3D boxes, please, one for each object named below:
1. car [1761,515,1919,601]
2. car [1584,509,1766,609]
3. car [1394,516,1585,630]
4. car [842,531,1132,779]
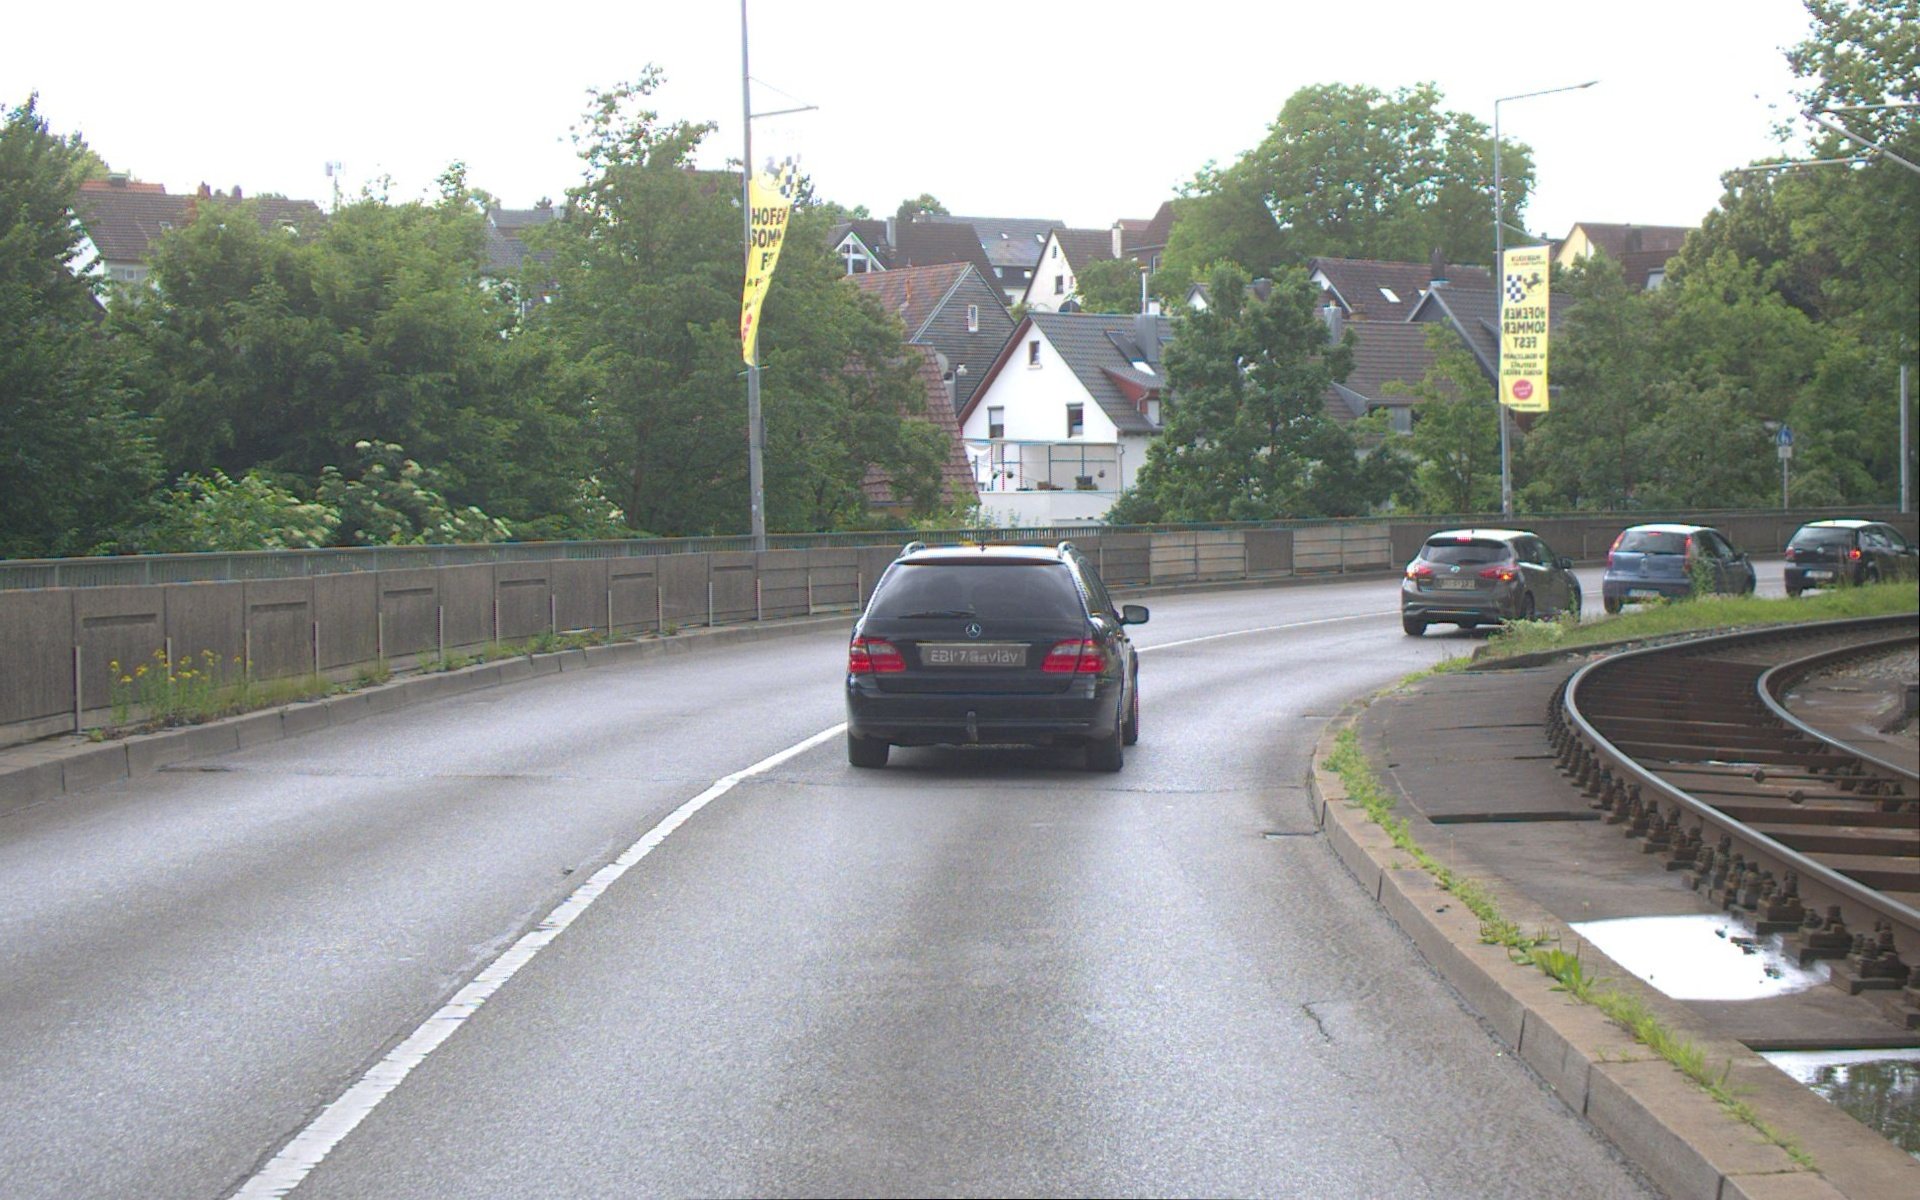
[{"bbox_3d":[16.696,-0.806,64.324,1.774,1.550,4.232,0,1,37],"label":"car"},{"bbox_3d":[12.043,-0.714,57.724,1.795,1.550,4.379,-1,1,28],"label":"car"},{"bbox_3d":[7.725,-0.418,49.885,1.772,1.550,4.236,-1,1,22],"label":"car"},{"bbox_3d":[0.276,0.299,23.614,1.759,1.510,4.442,1,1,3],"label":"car"}]
